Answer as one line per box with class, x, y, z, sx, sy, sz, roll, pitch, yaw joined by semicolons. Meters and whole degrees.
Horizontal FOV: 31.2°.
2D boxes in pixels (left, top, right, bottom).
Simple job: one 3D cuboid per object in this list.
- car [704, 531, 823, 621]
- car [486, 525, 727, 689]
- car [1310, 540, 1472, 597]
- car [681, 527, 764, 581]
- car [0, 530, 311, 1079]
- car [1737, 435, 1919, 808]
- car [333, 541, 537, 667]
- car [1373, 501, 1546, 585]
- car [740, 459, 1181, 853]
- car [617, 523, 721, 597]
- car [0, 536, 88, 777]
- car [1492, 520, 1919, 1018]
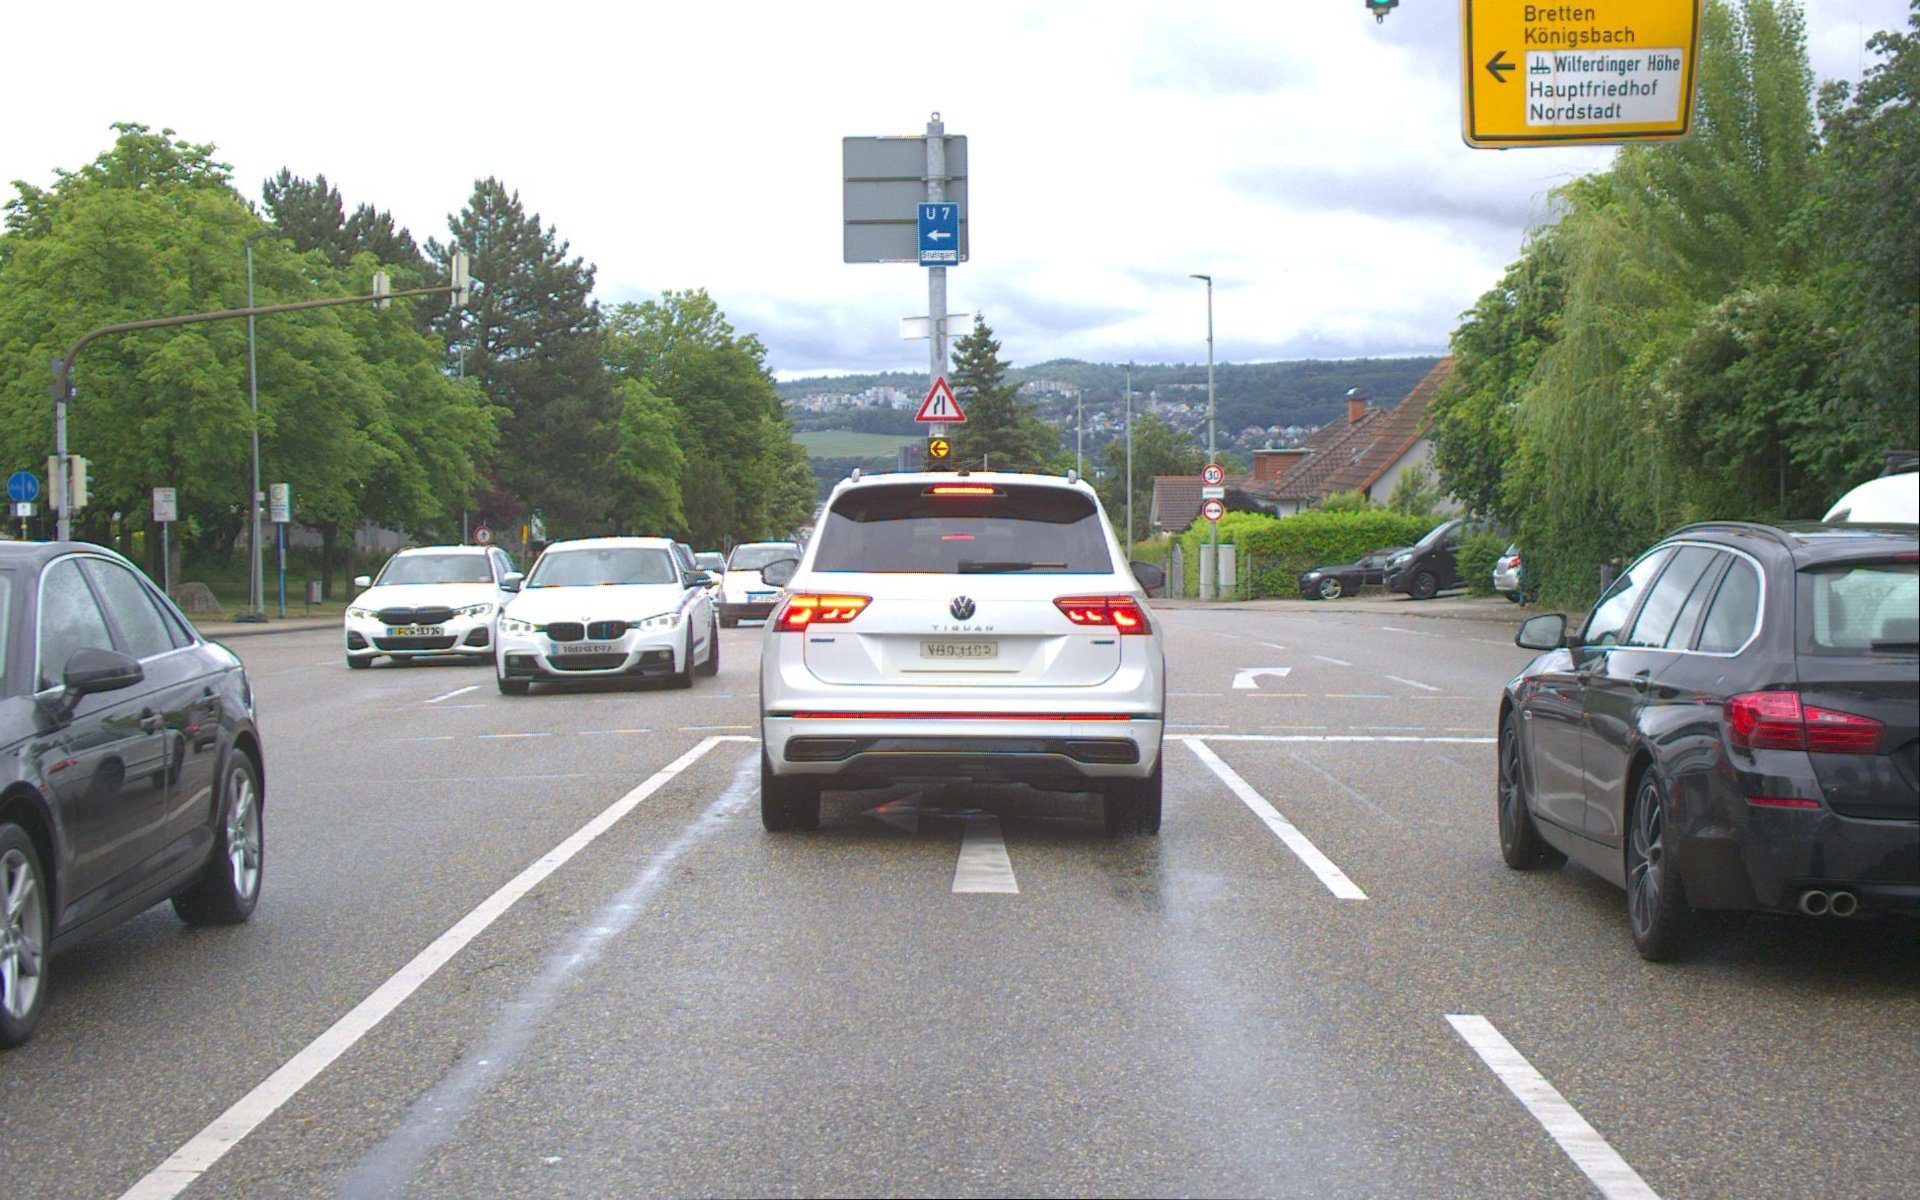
car;-3.412;-0.445;60.492;1.774;1.453;4.549;-1;1;0
car;-3.342;0.018;33.289;1.749;1.380;4.411;-2;2;1
car;10.945;-0.819;87.495;3.987;1.371;1.585;1;1;4
car;-5.866;-1.154;85.152;1.650;1.269;3.621;-1;2;2
car;-3.437;0.524;10.777;1.893;1.399;4.265;-2;2;1
car;5.811;0.029;19.844;1.764;1.870;3.806;0;4;0
car;-6.379;0.005;42.210;1.774;1.380;4.550;-1;1;0
car;11.984;-1.383;82.659;3.987;1.949;1.585;1;1;4
car;0.007;0.195;16.610;1.868;1.668;4.000;0;1;0
car;-6.160;-0.874;73.121;1.774;1.453;4.549;-1;1;0
car;-6.718;0.386;21.318;1.632;1.451;3.702;-3;2;0
car;3.155;0.467;12.191;1.899;1.436;4.000;1;2;0
